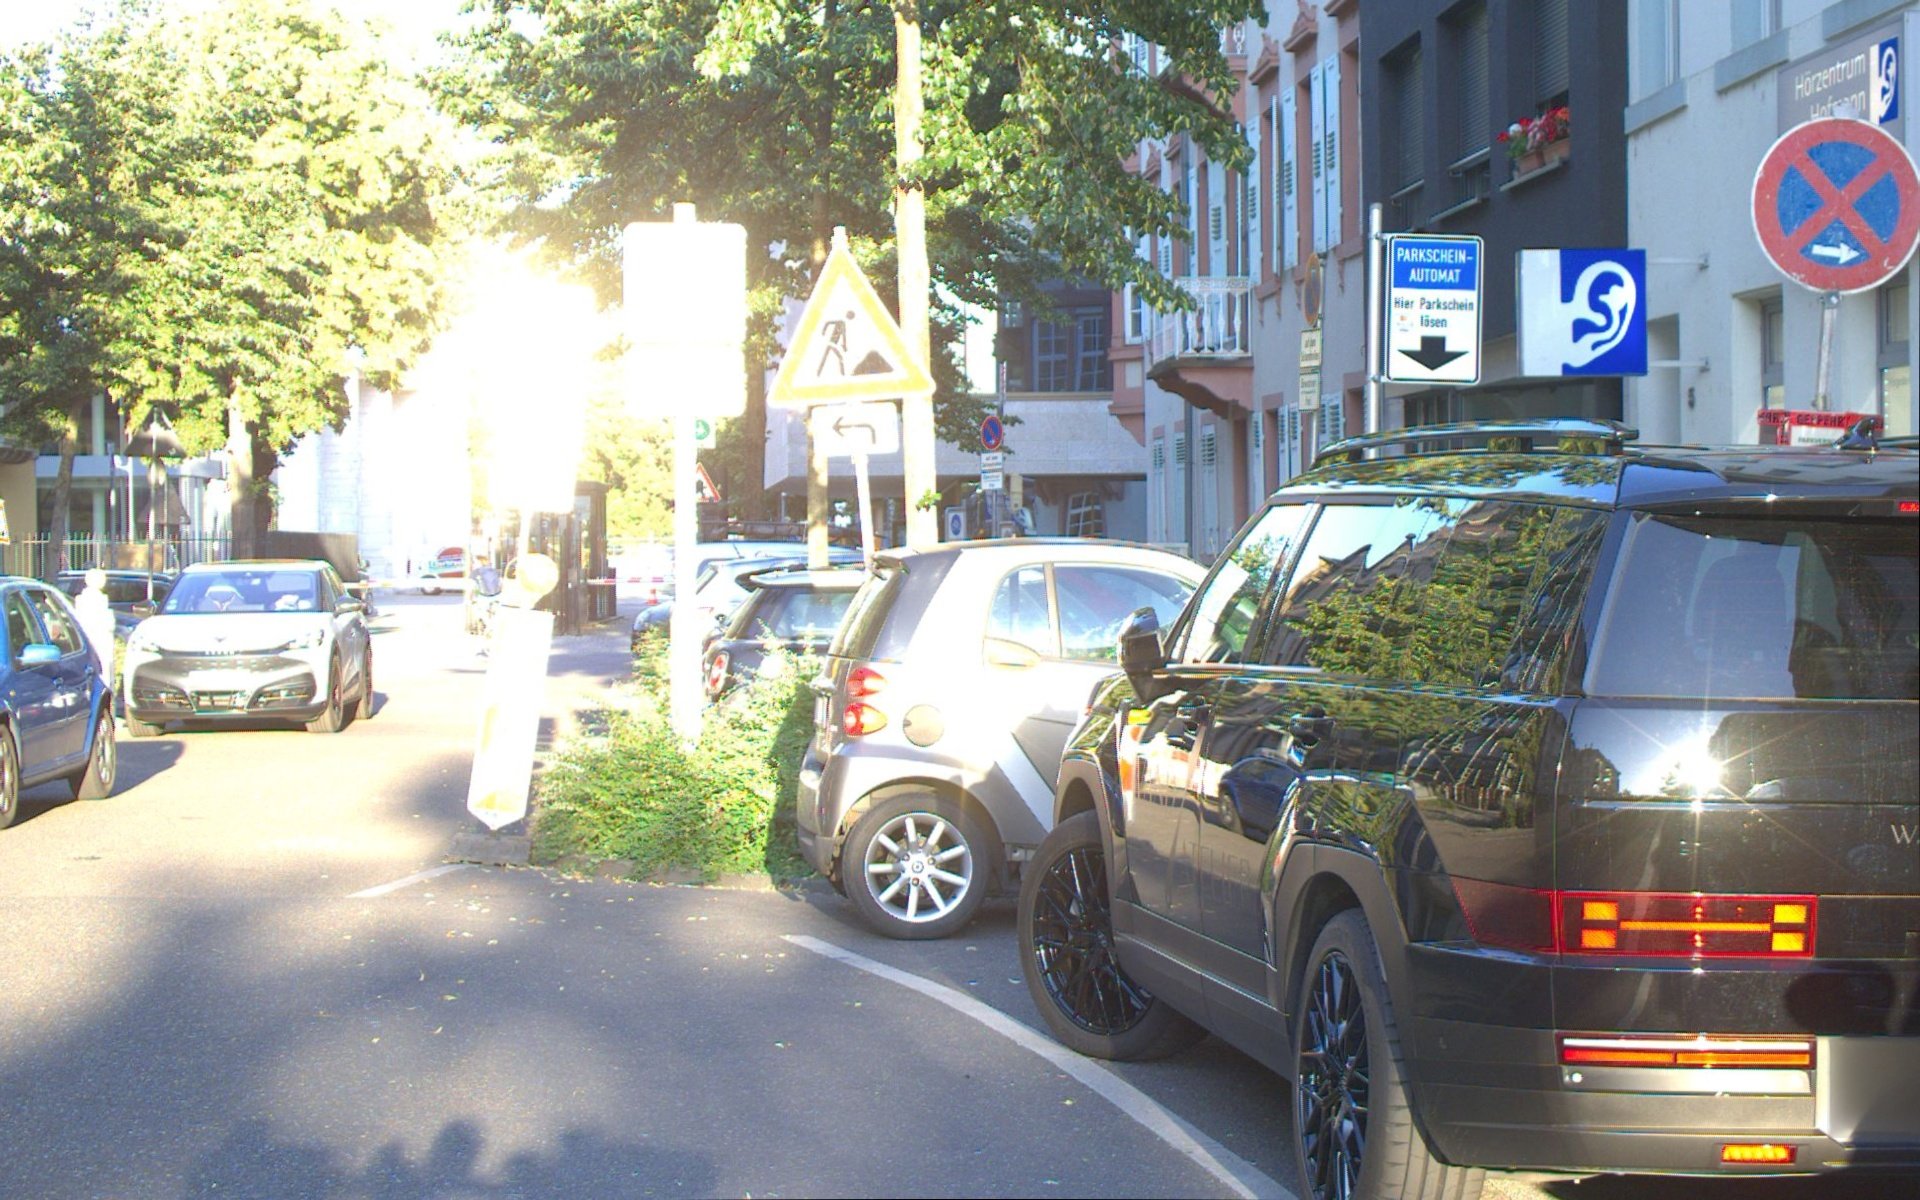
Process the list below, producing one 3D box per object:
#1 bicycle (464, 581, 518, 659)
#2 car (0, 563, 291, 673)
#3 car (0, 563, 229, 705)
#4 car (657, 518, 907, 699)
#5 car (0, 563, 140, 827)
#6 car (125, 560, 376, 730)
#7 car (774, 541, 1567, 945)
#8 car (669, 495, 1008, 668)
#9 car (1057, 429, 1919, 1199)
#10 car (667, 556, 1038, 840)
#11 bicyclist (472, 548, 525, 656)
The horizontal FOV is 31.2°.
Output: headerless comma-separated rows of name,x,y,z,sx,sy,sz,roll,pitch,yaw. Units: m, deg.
bicycle,-7.490,0.304,54.951,0.780,1.200,2.021,-1,1,-6
car,-11.625,0.242,48.336,4.102,1.461,1.890,1,0,-2
car,-10.067,0.336,36.820,4.102,1.461,1.890,1,0,-2
car,-1.936,0.063,35.882,2.264,1.760,4.510,0,0,-7
car,-6.179,0.531,19.983,1.838,1.436,4.332,-1,0,-1
car,-6.611,0.383,32.423,1.884,1.475,4.460,1,0,-6
car,0.798,0.555,13.964,2.968,1.531,1.434,1,0,-8
car,-1.429,-0.237,41.547,3.987,2.007,2.000,0,1,0
car,1.484,0.537,8.335,1.824,1.689,4.370,1,0,-7
car,-0.820,0.568,22.594,1.993,1.662,4.510,1,0,-7
bicyclist,-7.384,0.023,54.978,0.780,1.690,1.007,-1,0,-6
